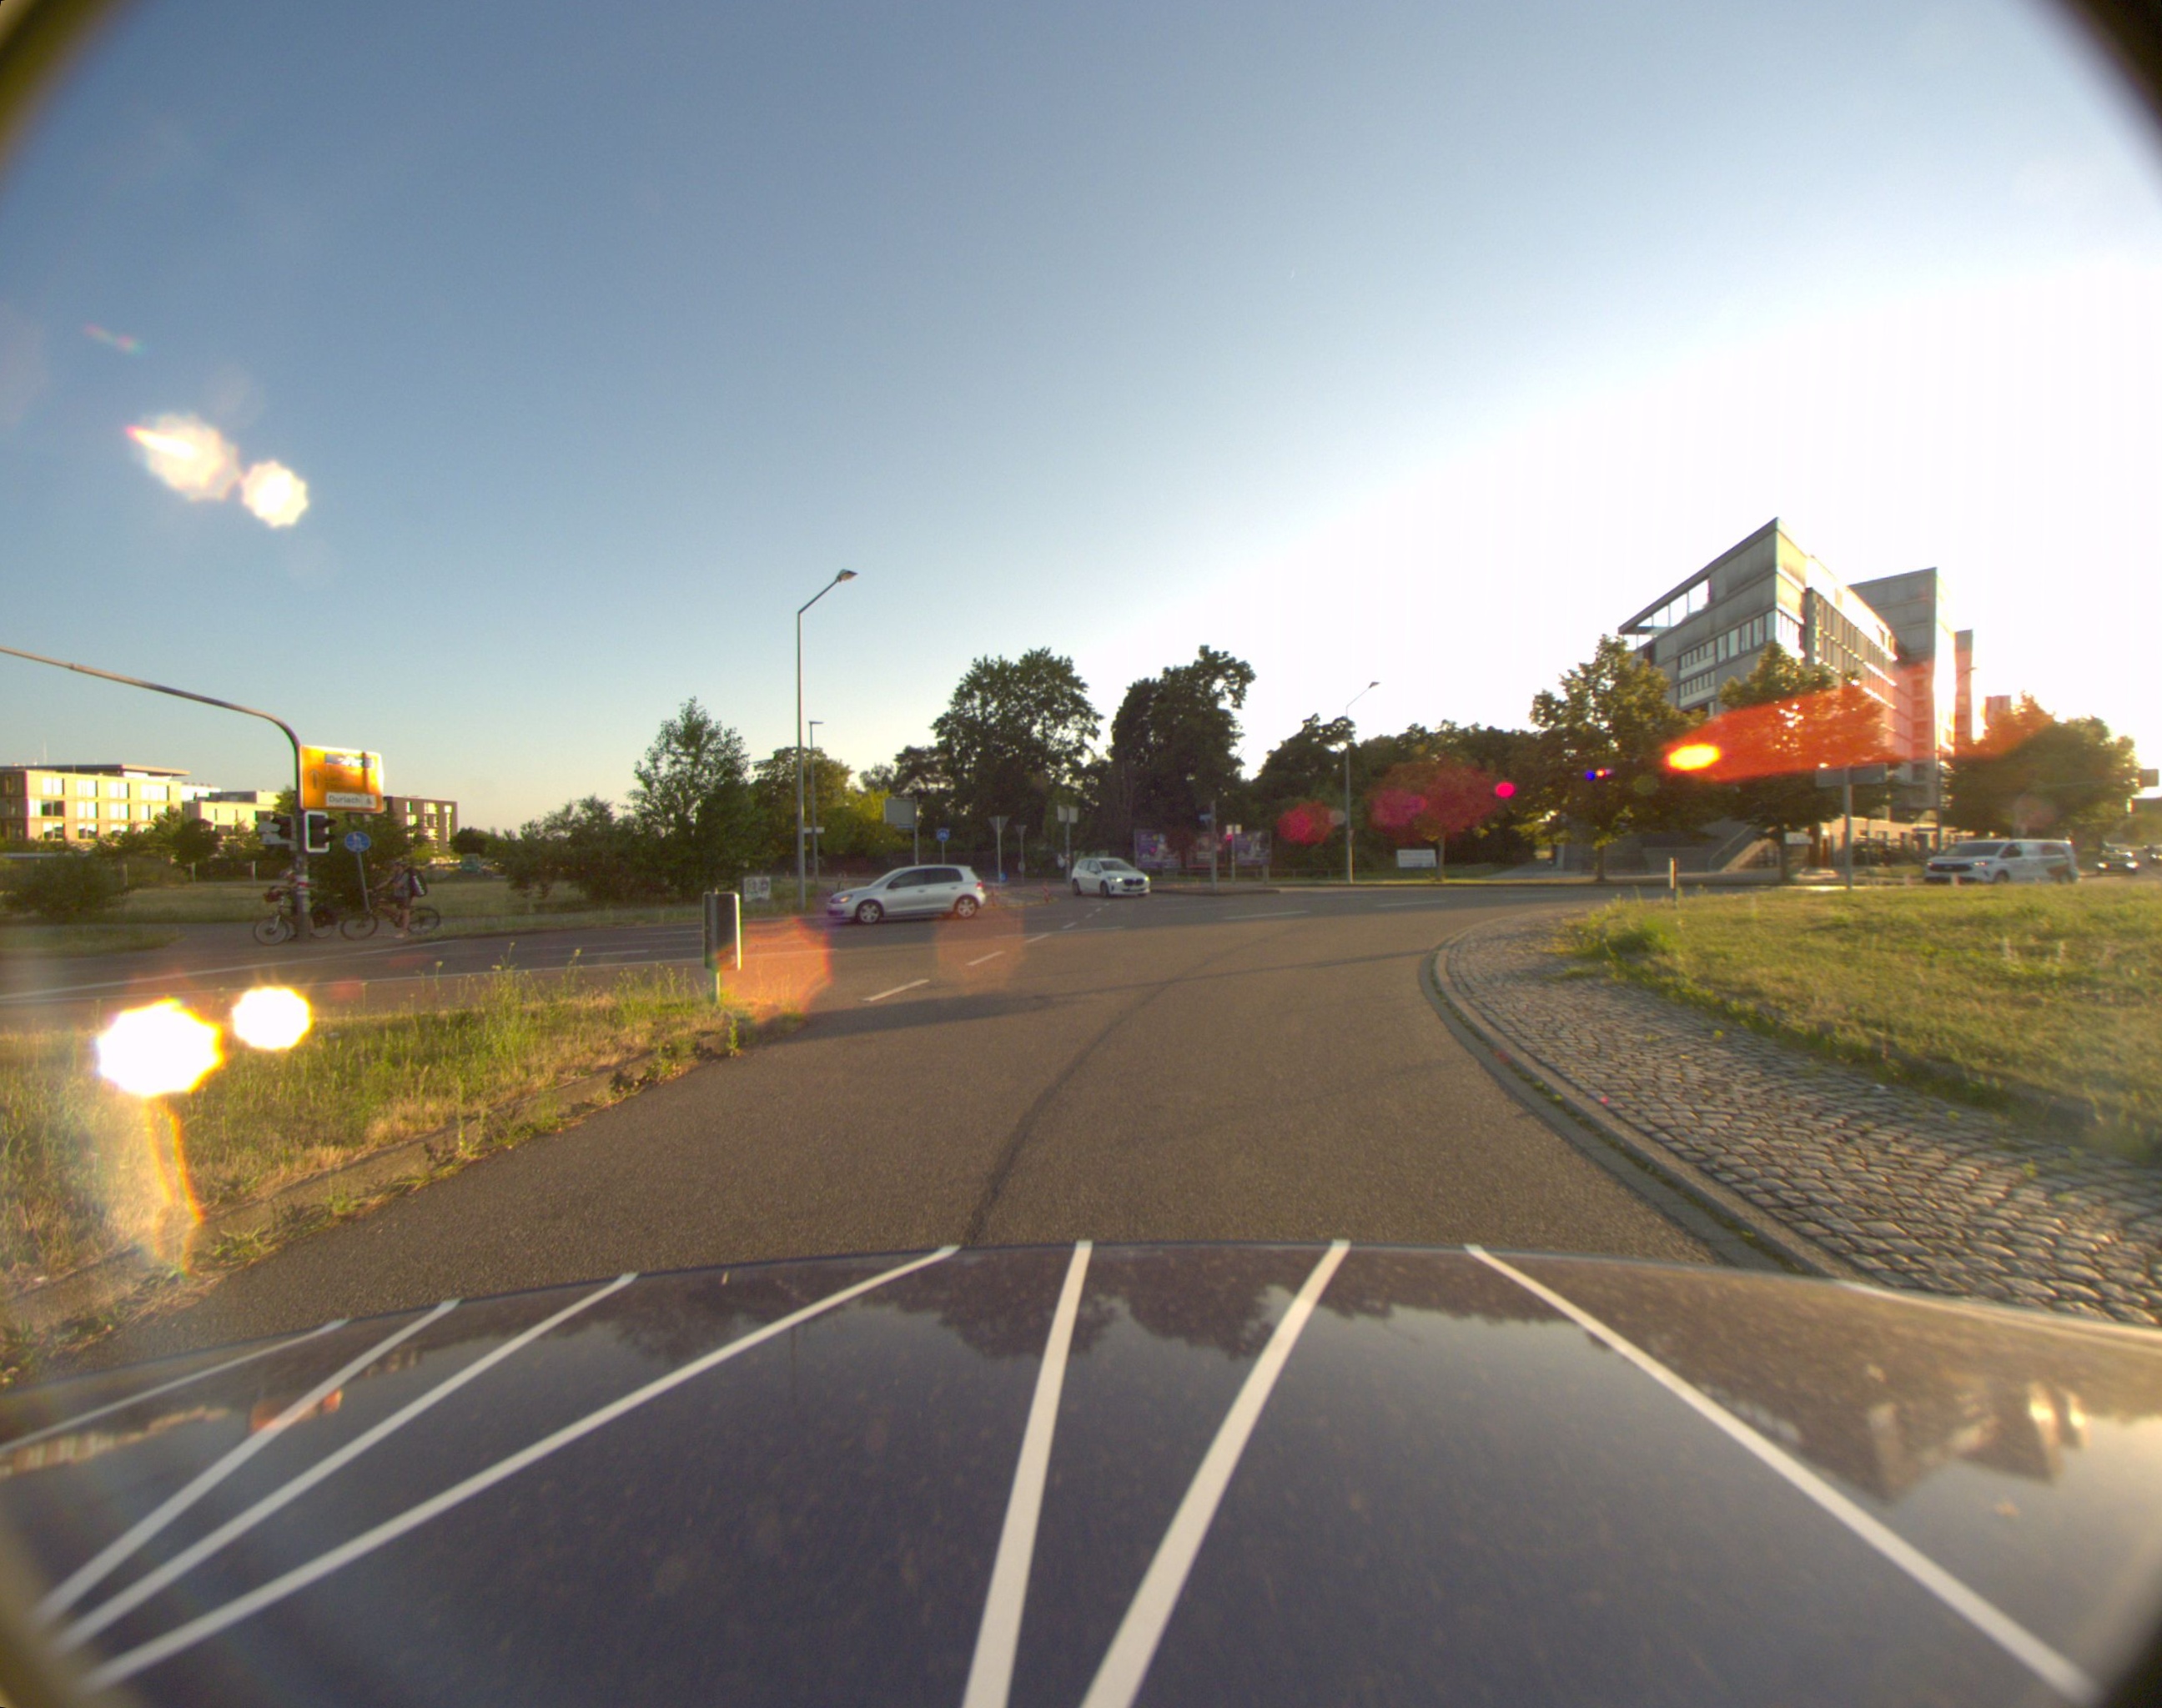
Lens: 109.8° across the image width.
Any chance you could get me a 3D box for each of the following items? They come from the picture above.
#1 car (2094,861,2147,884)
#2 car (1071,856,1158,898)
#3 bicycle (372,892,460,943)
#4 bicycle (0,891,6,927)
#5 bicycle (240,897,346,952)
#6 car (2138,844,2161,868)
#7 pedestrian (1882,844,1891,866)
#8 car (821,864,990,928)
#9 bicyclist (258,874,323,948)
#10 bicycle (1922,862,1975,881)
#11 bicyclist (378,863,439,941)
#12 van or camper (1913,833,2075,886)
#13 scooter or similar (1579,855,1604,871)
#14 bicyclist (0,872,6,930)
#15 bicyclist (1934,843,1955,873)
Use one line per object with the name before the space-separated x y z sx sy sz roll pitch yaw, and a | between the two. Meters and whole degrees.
car | 71.963 1.263 52.585 4.006 1.431 1.741 -1 0 -30
car | 1.283 0.889 31.000 1.893 1.549 4.087 -1 0 -25
bicycle | -16.920 1.589 19.384 0.456 1.079 1.928 -1 2 2
bicycle | -33.108 1.656 22.804 1.371 1.082 0.280 -1 0 3
bicycle | -18.994 1.667 18.383 0.456 1.079 1.928 -1 3 2
car | 76.889 0.120 54.074 4.007 1.612 1.773 -1 1 -33
pedestrian | 73.210 0.093 69.066 0.528 2.002 0.537 -1 0 -37
car | -4.712 1.064 20.515 4.057 1.472 1.888 -1 0 -29
bicyclist | -19.045 1.368 18.326 0.641 1.693 0.770 -1 3 1
bicycle | 47.077 0.958 41.242 1.858 1.016 0.308 -1 0 44
bicyclist | -17.021 1.194 19.263 0.641 1.887 0.910 -1 2 1
van or camper | 36.232 0.191 30.189 5.331 1.946 1.997 -1 0 -14
scooter or similar | 39.168 0.658 58.312 0.367 1.213 1.573 -1 0 -27
bicyclist | -33.093 1.421 22.825 0.843 1.733 0.537 -1 0 3
bicyclist | 47.113 0.233 41.471 0.682 1.638 0.685 0 0 44
